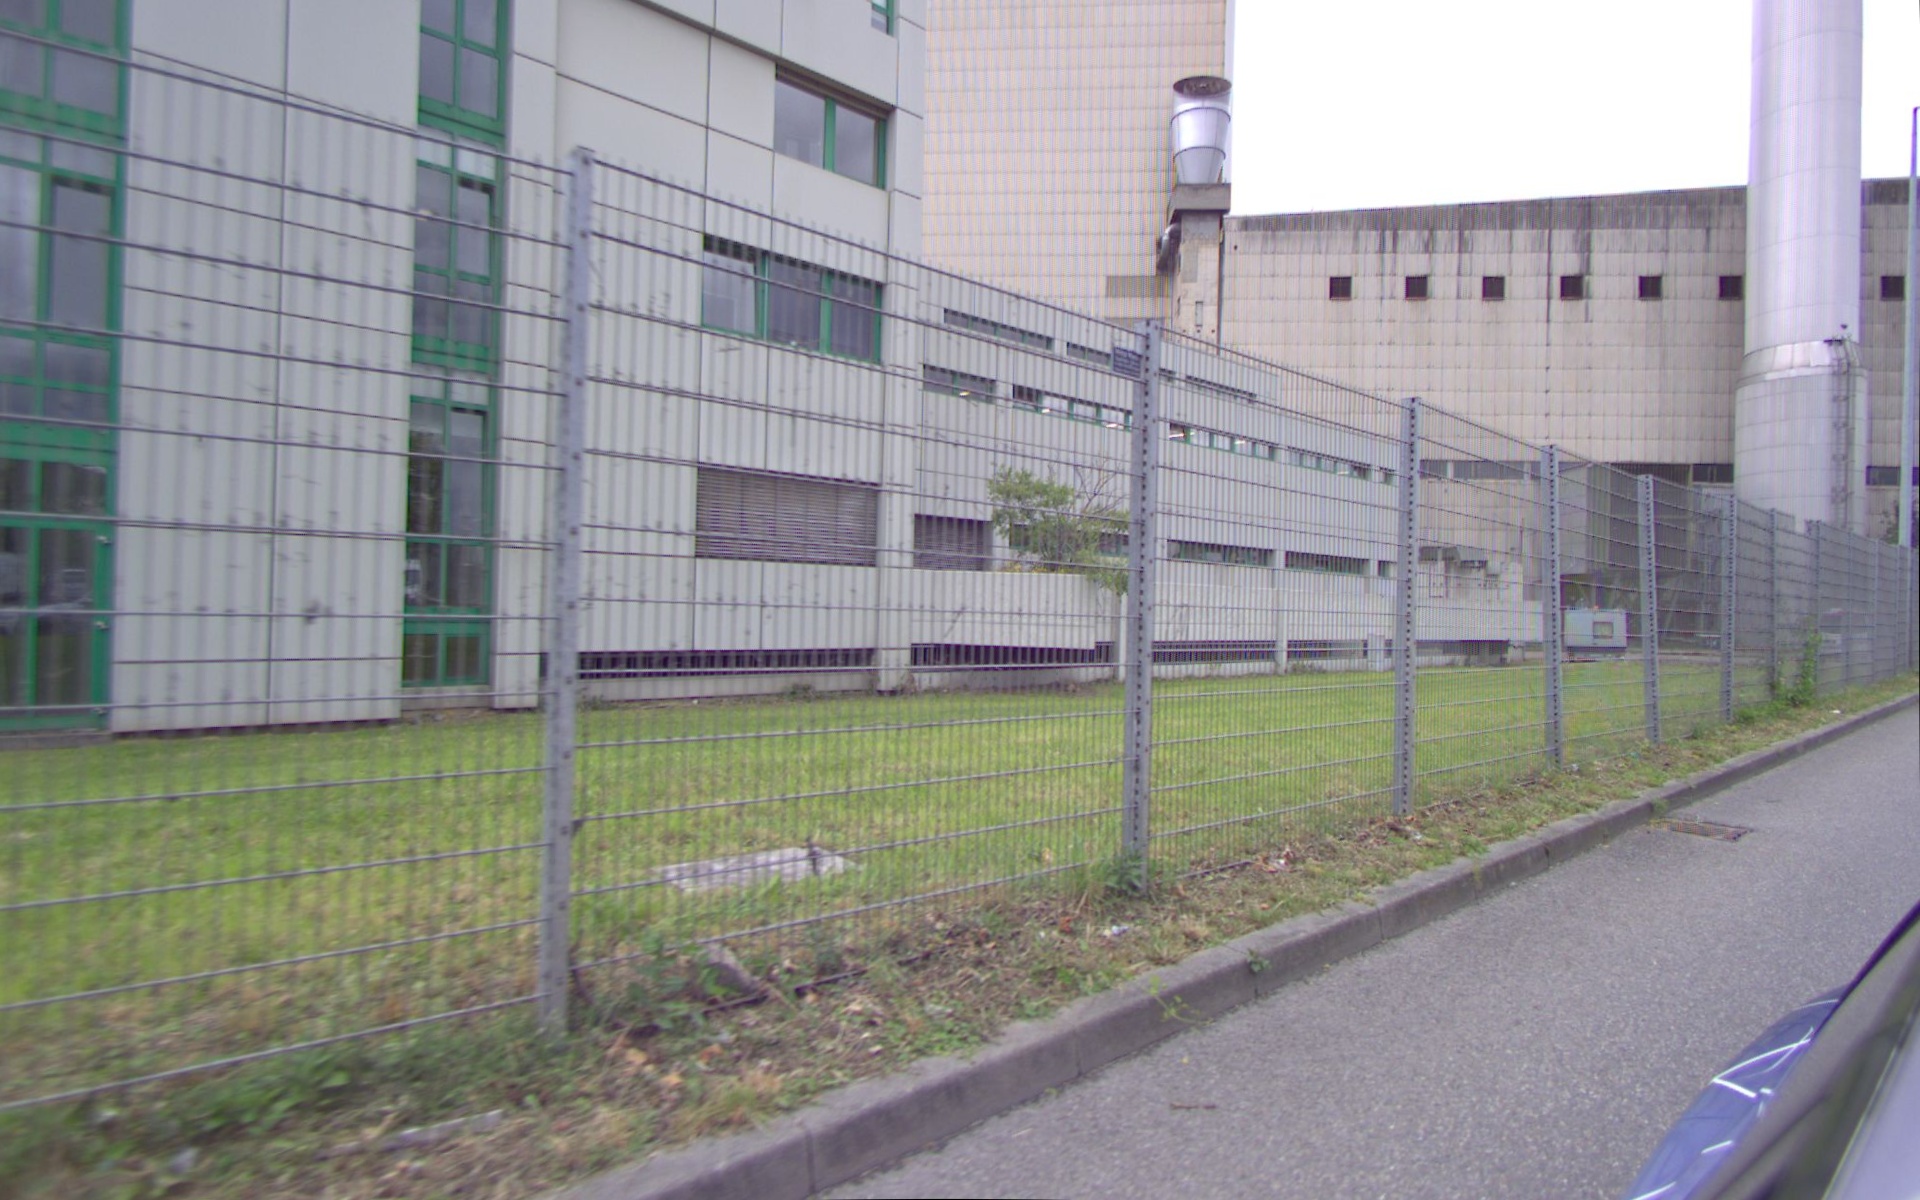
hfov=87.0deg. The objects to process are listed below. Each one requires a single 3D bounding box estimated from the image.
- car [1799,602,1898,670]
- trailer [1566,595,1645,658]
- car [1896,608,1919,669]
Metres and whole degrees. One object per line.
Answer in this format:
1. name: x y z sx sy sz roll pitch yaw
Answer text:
1. car: 39.069 1.639 44.655 2.409 2.798 5.389 0 -3 32
2. trailer: 28.786 1.172 45.011 2.648 2.576 6.349 0 -1 35
3. car: 42.425 1.714 43.506 2.222 2.581 5.129 0 -3 32
